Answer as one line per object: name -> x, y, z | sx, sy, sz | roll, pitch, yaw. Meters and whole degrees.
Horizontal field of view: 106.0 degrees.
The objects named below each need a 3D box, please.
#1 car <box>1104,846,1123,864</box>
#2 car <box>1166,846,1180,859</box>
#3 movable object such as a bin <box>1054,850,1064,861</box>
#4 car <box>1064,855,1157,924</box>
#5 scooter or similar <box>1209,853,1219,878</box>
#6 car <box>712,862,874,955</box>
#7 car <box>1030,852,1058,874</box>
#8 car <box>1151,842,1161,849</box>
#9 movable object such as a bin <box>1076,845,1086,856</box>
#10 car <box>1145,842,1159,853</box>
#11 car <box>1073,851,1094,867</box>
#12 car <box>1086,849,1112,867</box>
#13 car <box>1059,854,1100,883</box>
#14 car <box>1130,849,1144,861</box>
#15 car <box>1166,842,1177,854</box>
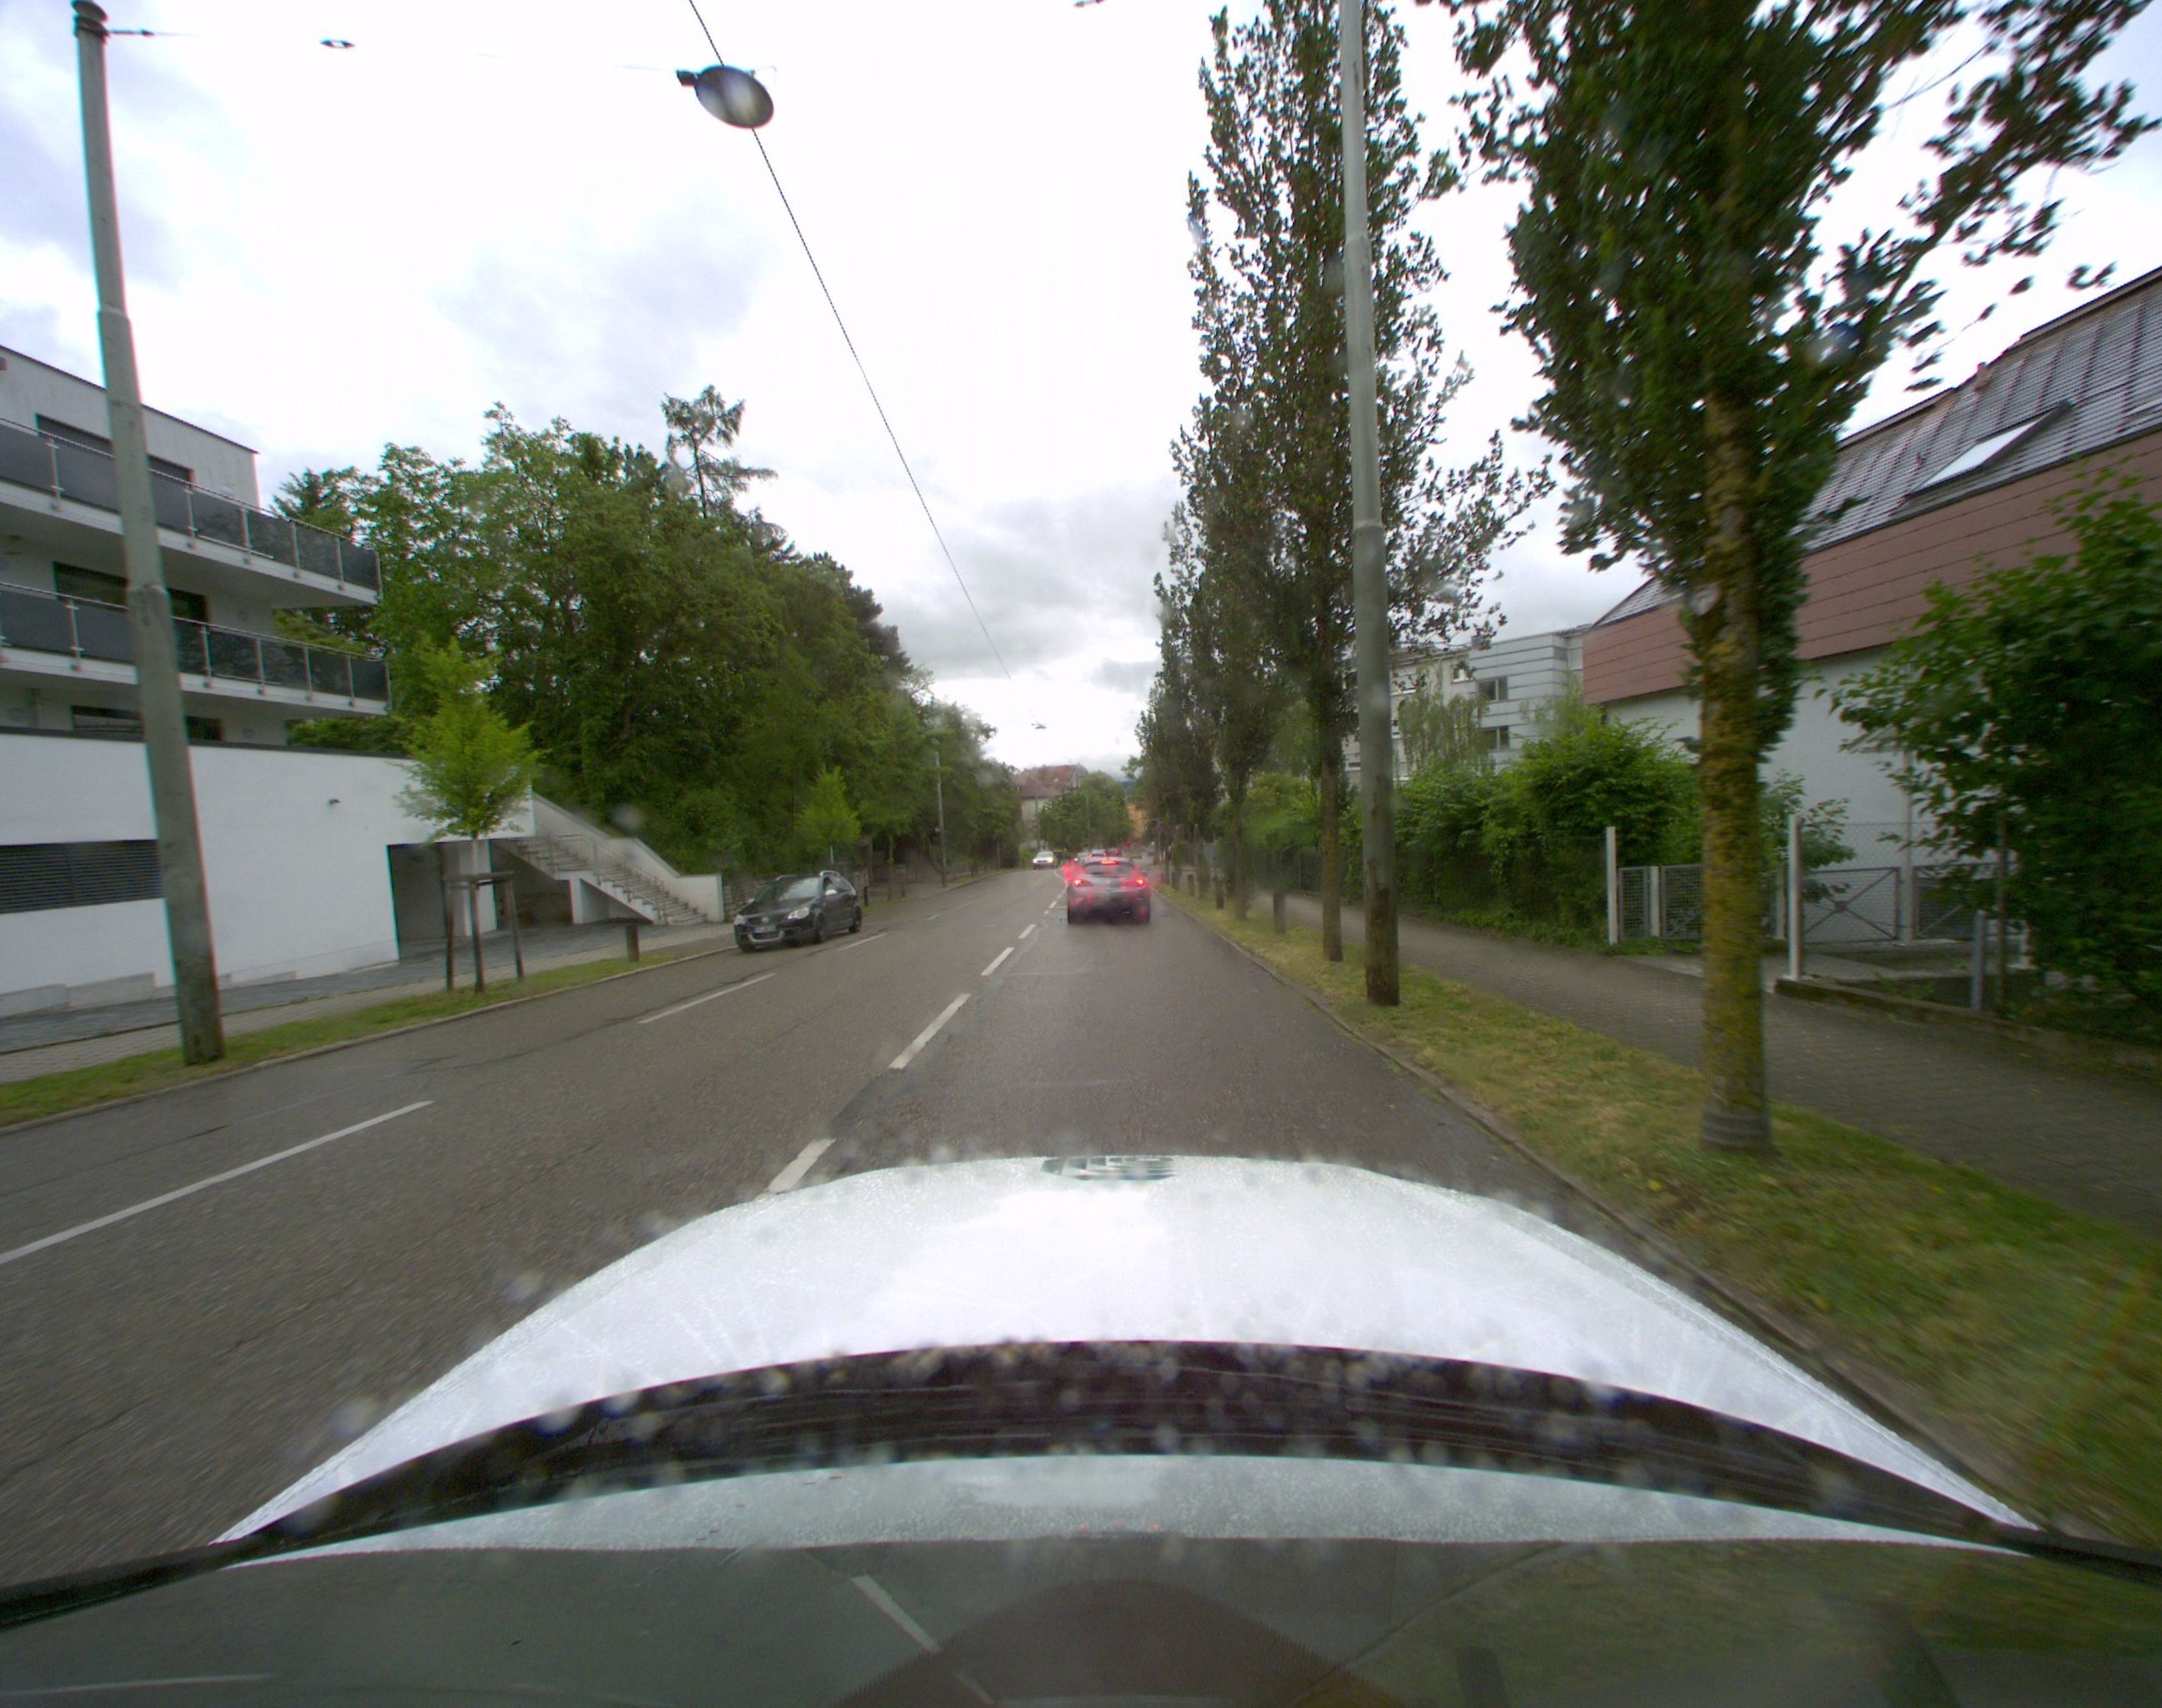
car -> 3.535, 0.095, 87.806 | 1.759, 1.781, 3.985 | 0, 1, 7
car -> 11.088, -0.179, 98.461 | 1.495, 1.435, 4.009 | -4, 0, 7
movable object such as a bin -> -3.086, 0.198, 113.153 | 1.265, 1.387, 0.490 | -1, 1, 6
car -> 0.677, 0.741, 19.041 | 1.938, 1.432, 3.885 | 0, 0, 2
scooter or similar -> 6.813, 0.597, 41.696 | 0.341, 1.254, 1.267 | 0, 0, 0
car -> -5.988, 1.064, 17.458 | 1.738, 1.549, 3.922 | -6, 0, 3
car -> -2.944, 0.693, 65.711 | 1.757, 1.486, 3.805 | -4, 1, 4
car -> 18.793, -2.147, 203.946 | 1.981, 1.784, 4.011 | 0, 1, 9
movable object such as a bin -> 0.002, -0.469, 106.787 | 1.265, 1.387, 0.490 | -1, 1, 6
car -> 13.079, -1.235, 150.167 | 2.320, 2.036, 4.748 | 0, 1, 9
car -> 0.310, 0.511, 91.785 | 1.903, 1.585, 4.592 | -6, 0, 4
car -> 1.603, 0.328, 71.607 | 1.950, 1.472, 3.959 | 0, 1, 7
car -> -0.025, 0.714, 41.518 | 1.790, 1.323, 4.004 | -2, 0, 3
car -> 8.176, 0.149, 118.982 | 1.745, 1.651, 4.008 | 0, 0, 7
car -> 17.106, -1.129, 153.891 | 1.982, 2.036, 4.747 | 0, 1, 9
